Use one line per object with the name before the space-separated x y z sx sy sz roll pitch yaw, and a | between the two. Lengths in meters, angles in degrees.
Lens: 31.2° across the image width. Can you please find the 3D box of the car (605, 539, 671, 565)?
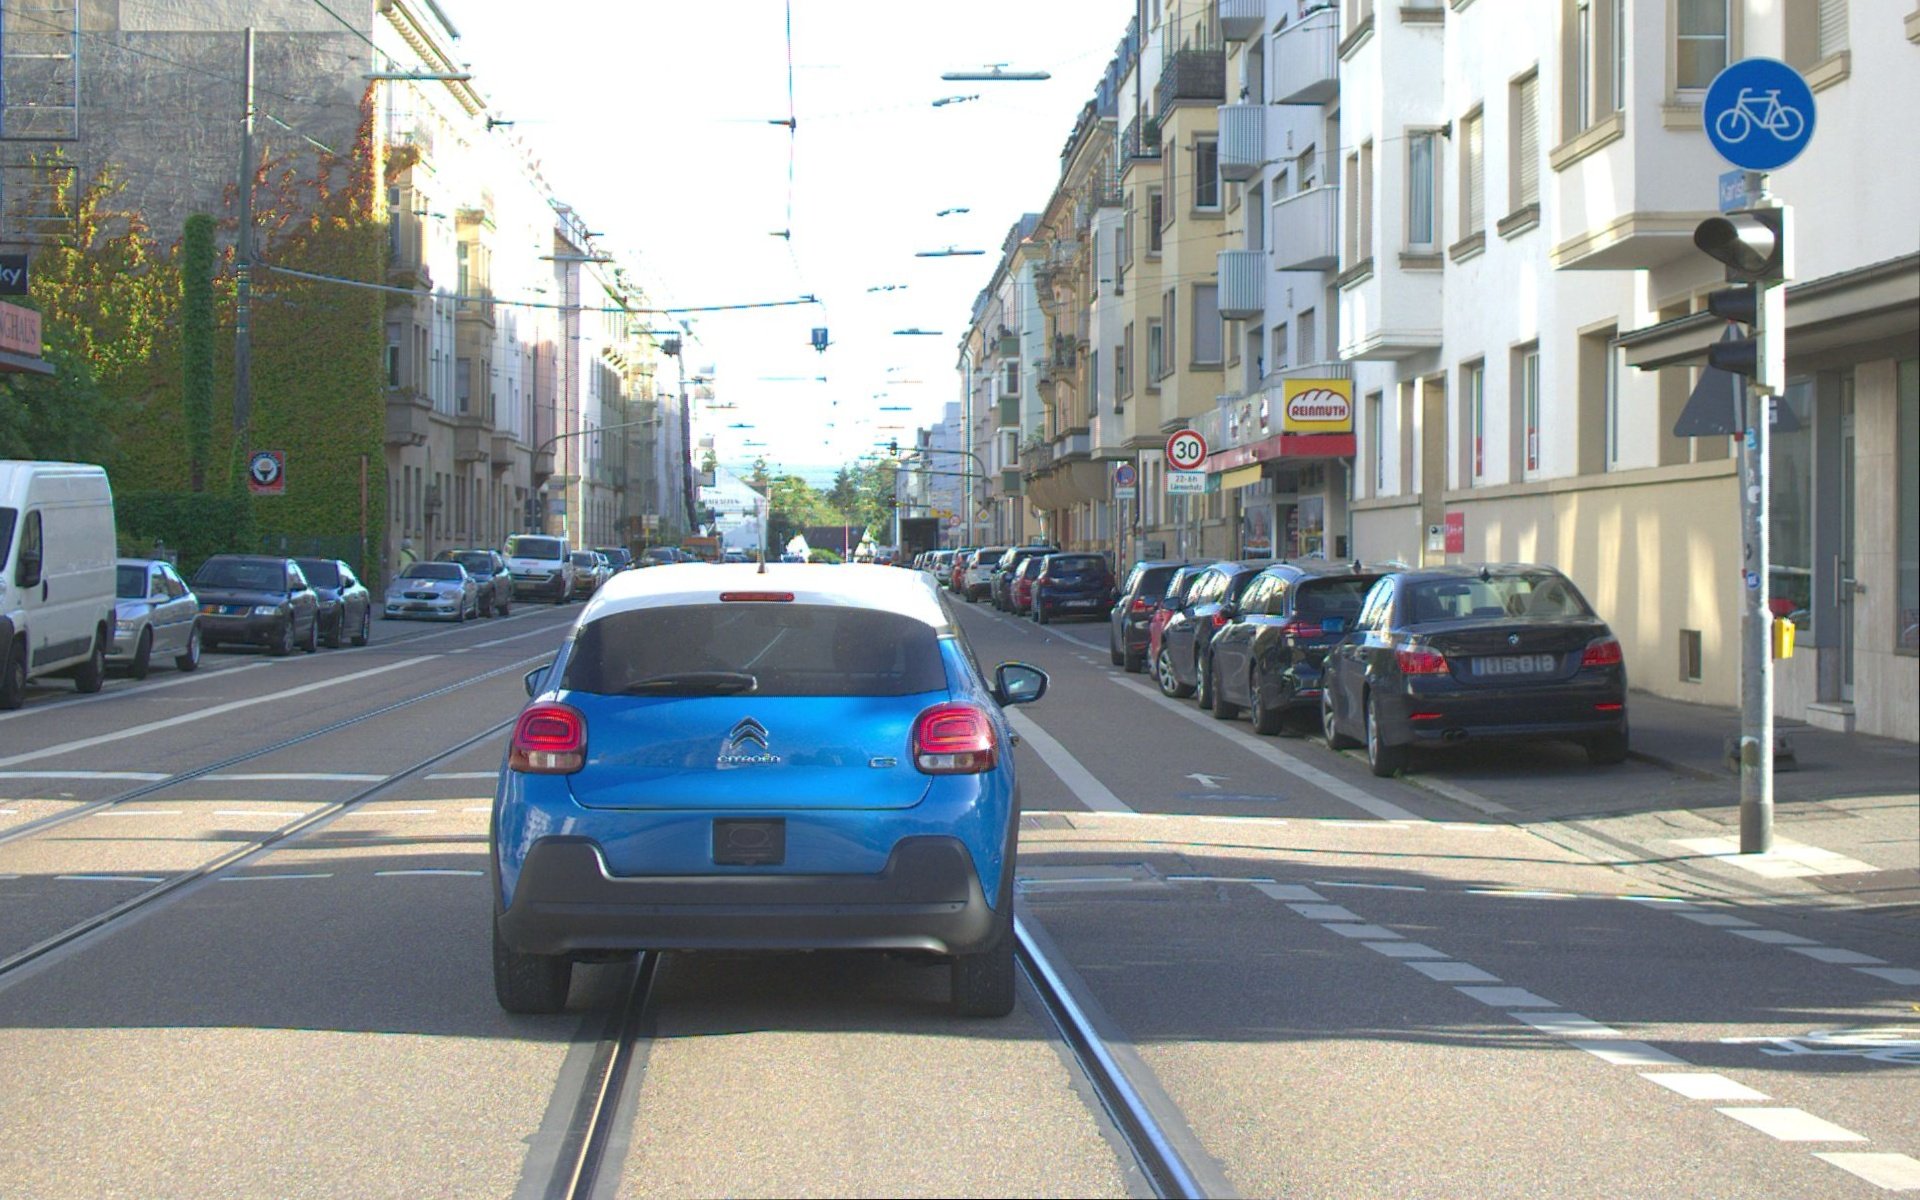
car | -14.732 -2.208 157.477 1.994 1.152 4.513 0 1 8

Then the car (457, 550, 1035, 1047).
car | -0.701 0.578 12.380 1.728 1.477 3.827 1 1 -1

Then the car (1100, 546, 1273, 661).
car | 2.969 0.011 45.812 1.993 1.459 4.000 0 1 -1

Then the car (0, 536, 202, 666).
car | -10.557 -0.003 42.036 1.887 1.491 3.562 1 0 -2

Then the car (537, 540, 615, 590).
car | -12.295 -1.126 110.288 1.955 1.547 3.938 1 0 1

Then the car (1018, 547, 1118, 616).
car | 2.325 -0.427 74.901 1.993 1.459 4.505 0 1 -1

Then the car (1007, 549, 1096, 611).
car | 2.174 -0.503 82.605 1.993 1.459 4.000 0 1 -1

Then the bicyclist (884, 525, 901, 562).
bicyclist | -3.752 -3.144 190.834 0.809 2.007 0.922 1 0 4

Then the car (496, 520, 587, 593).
car | -12.100 -1.243 99.614 2.006 2.007 4.689 1 0 1

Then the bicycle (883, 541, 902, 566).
bicycle | -3.739 -2.569 190.694 0.920 1.384 3.132 0 1 2

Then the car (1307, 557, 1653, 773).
car | 3.747 0.418 25.458 1.909 1.459 4.000 0 1 -1

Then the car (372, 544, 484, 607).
car | -11.722 -0.545 75.954 1.993 1.320 3.923 1 0 -2

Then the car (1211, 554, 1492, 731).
car | 3.406 0.326 30.625 1.993 1.459 4.000 0 1 -1

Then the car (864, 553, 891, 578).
car | -6.081 -2.534 252.791 1.993 1.766 4.000 0 1 -1

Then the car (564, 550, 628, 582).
car | -13.414 -1.268 126.980 1.993 1.152 4.000 0 1 -1

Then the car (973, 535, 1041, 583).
car | 1.416 -1.276 106.029 1.993 1.459 4.000 0 1 -1

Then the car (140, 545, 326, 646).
car | -10.693 -0.079 50.832 1.993 1.393 4.158 1 0 -2

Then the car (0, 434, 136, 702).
car | -10.191 -0.368 35.464 2.085 2.533 6.206 1 1 -2

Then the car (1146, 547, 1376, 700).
car | 3.067 0.204 35.747 1.993 1.496 4.000 0 1 -1
